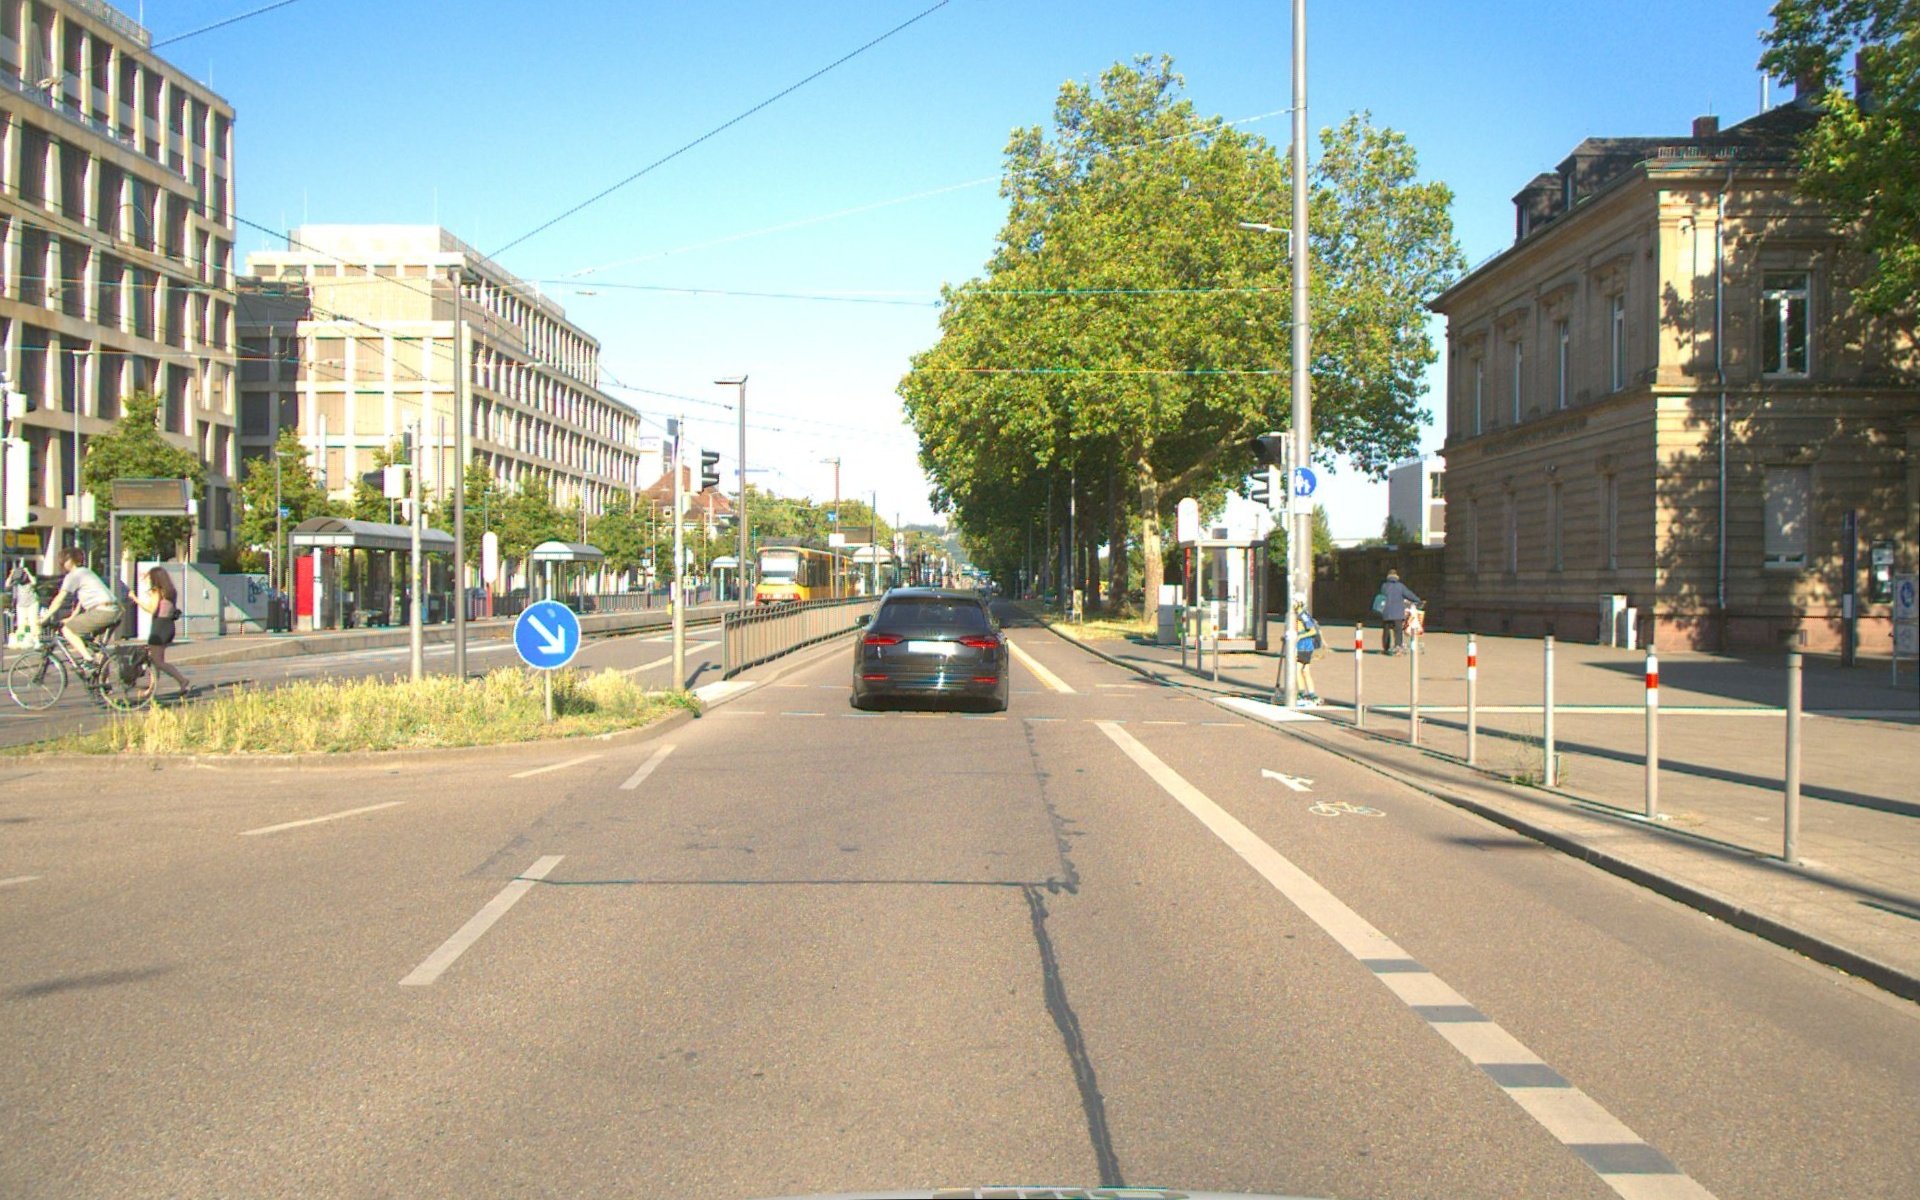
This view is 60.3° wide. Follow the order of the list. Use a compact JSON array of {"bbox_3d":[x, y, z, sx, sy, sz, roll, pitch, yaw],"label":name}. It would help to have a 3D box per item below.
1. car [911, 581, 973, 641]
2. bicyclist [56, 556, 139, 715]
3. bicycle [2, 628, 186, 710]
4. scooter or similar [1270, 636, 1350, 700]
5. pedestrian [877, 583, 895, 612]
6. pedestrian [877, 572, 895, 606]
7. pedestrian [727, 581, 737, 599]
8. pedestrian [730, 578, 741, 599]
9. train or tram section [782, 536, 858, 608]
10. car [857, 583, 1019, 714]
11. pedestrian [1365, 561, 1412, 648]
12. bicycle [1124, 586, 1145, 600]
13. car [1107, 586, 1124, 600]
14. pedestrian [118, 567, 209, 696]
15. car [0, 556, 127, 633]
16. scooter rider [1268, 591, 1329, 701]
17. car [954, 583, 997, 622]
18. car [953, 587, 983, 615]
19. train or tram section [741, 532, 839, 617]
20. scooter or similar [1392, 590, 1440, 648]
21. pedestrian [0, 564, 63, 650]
[{"bbox_3d":[-0.537,0.281,47.762,1.727,1.647,3.999,0,0,-1],"label":"car"},{"bbox_3d":[-10.124,0.404,19.428,0.653,1.839,0.647,0,0,-4],"label":"bicyclist"},{"bbox_3d":[-10.164,0.805,19.445,1.846,0.927,0.513,0,0,-5],"label":"bicycle"},{"bbox_3d":[4.622,0.893,21.848,1.000,0.825,0.265,0,0,0],"label":"scooter or similar"},{"bbox_3d":[-3.239,-0.110,72.382,0.726,1.296,0.525,0,0,0],"label":"pedestrian"},{"bbox_3d":[-3.371,-0.511,75.706,0.730,1.535,0.666,-1,0,3],"label":"pedestrian"},{"bbox_3d":[-16.143,-0.727,117.193,0.601,1.282,0.725,0,0,5],"label":"pedestrian"},{"bbox_3d":[-16.245,-0.846,119.654,0.601,1.554,0.725,0,0,9],"label":"pedestrian"},{"bbox_3d":[-7.992,-1.571,96.175,3.241,3.896,11.845,0,0,1],"label":"train or tram section"},{"bbox_3d":[-0.284,0.529,20.357,1.840,1.482,3.356,0,1,-1],"label":"car"},{"bbox_3d":[8.858,0.089,34.192,0.754,1.775,0.796,-2,0,25],"label":"pedestrian"},{"bbox_3d":[14.466,-0.573,137.138,1.737,1.140,0.439,-1,0,0],"label":"bicycle"},{"bbox_3d":[17.012,-0.769,180.533,1.581,1.542,3.804,0,0,1],"label":"car"},{"bbox_3d":[-10.577,0.405,21.994,0.914,1.673,0.794,0,0,-13],"label":"pedestrian"},{"bbox_3d":[-25.379,-0.170,46.472,1.953,2.049,3.999,0,1,-1],"label":"car"},{"bbox_3d":[4.451,0.599,21.751,0.687,1.421,0.600,0,0,1],"label":"scooter rider"},{"bbox_3d":[0.644,0.084,70.507,1.727,1.647,3.999,0,0,-1],"label":"car"},{"bbox_3d":[0.465,0.053,101.859,1.727,1.647,3.999,0,0,-1],"label":"car"},{"bbox_3d":[-8.332,-1.211,82.944,3.241,3.896,14.220,0,0,1],"label":"train or tram section"},{"bbox_3d":[9.453,0.388,34.321,0.704,1.176,0.759,-2,0,-6],"label":"scooter or similar"},{"bbox_3d":[-18.307,0.127,32.547,0.777,1.673,0.933,0,0,2],"label":"pedestrian"}]
